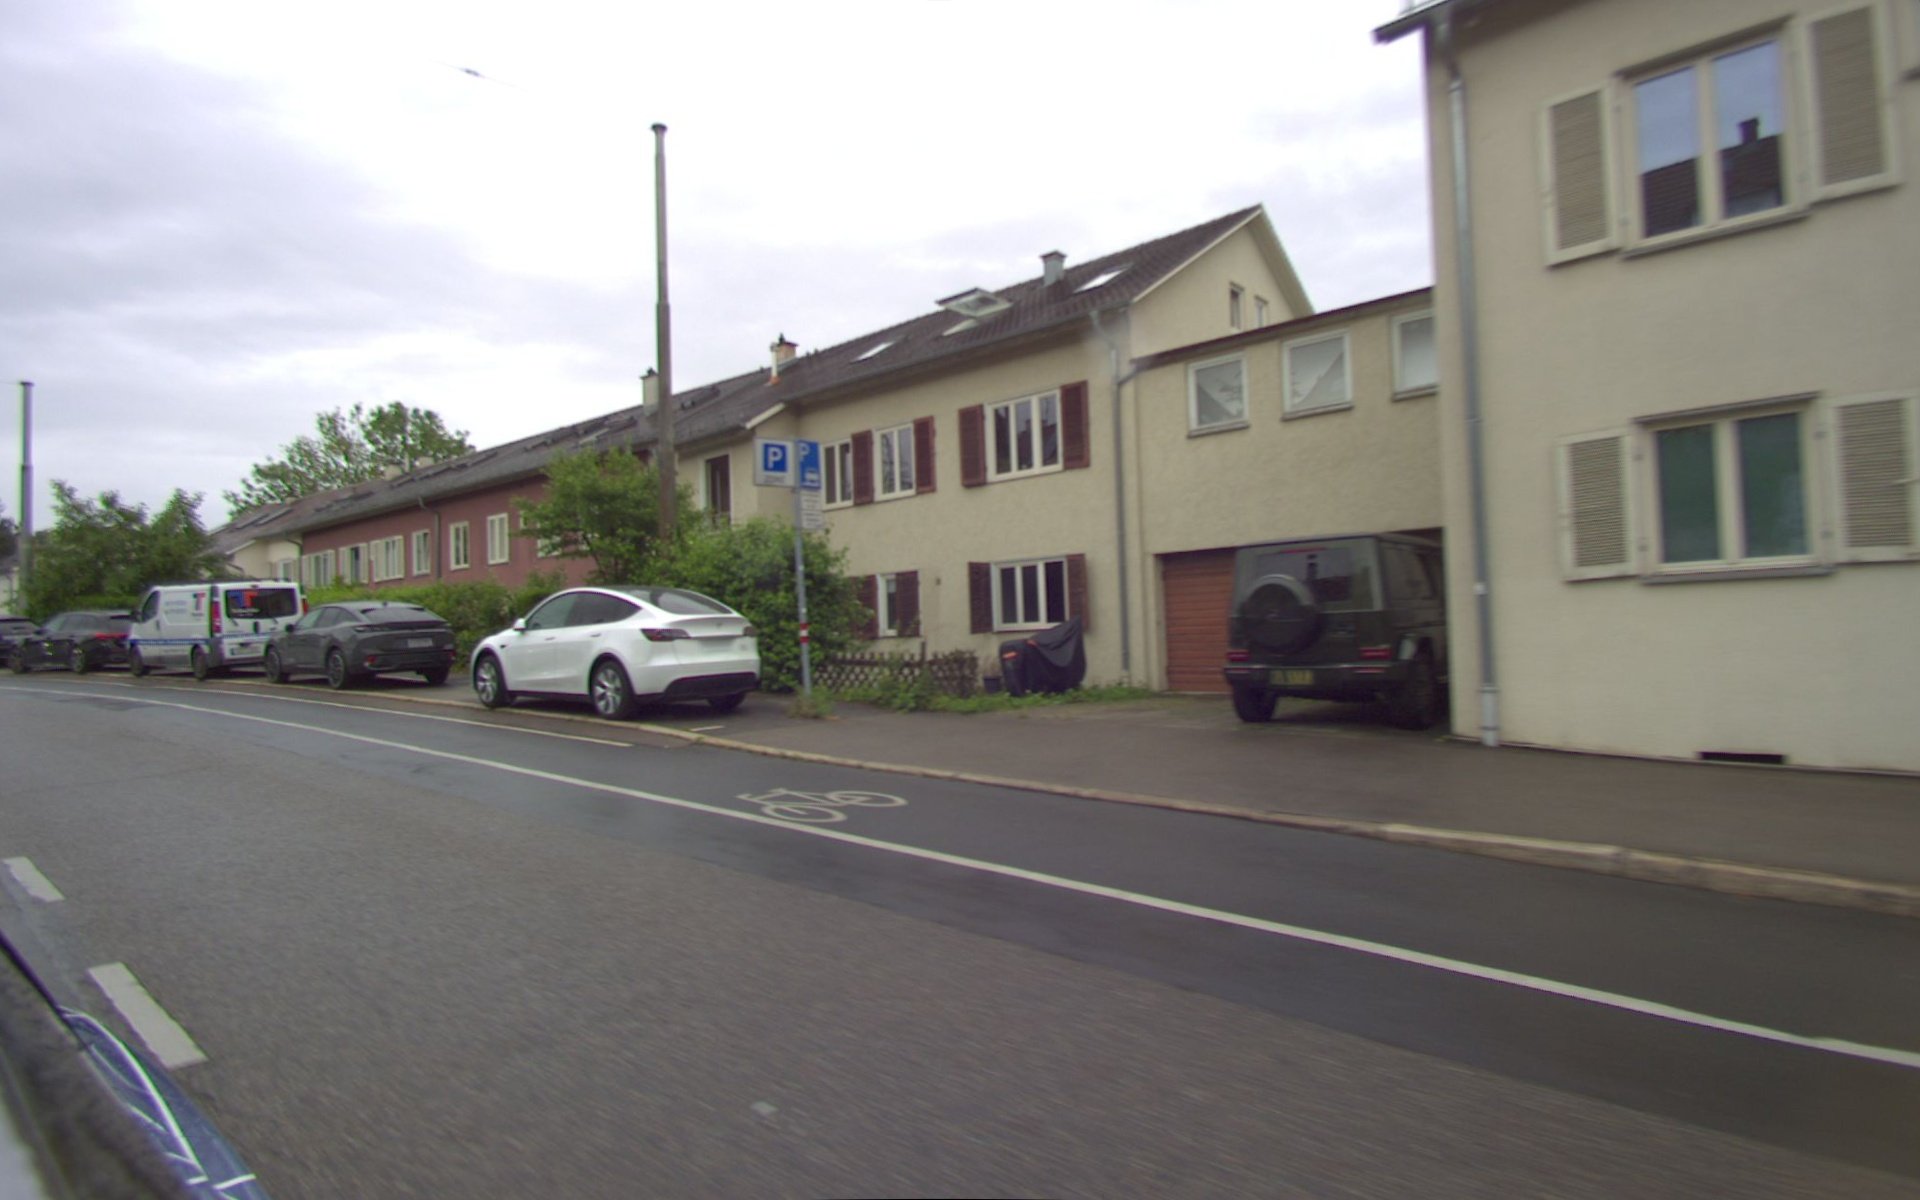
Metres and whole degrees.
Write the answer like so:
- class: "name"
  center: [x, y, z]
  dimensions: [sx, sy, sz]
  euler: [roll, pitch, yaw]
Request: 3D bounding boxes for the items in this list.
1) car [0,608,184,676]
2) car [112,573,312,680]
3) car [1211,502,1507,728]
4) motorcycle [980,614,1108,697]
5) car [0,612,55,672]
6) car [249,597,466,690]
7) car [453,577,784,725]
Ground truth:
- class: "car"
  center: [-20.893, 0.979, 24.319]
  dimensions: [4.499, 1.488, 1.797]
  euler: [-1, 0, 27]
- class: "car"
  center: [-16.198, 0.551, 21.843]
  dimensions: [5.005, 2.094, 1.833]
  euler: [-1, 0, 33]
- class: "car"
  center: [4.678, 0.183, 11.443]
  dimensions: [1.885, 2.029, 4.445]
  euler: [-3, -2, 38]
- class: "motorcycle"
  center: [1.321, 0.812, 15.545]
  dimensions: [0.840, 1.143, 2.069]
  euler: [1, 1, 44]
- class: "car"
  center: [-26.262, 1.111, 27.042]
  dimensions: [4.504, 1.488, 1.796]
  euler: [-1, 0, 30]
- class: "car"
  center: [-10.990, 0.727, 18.350]
  dimensions: [4.514, 1.488, 1.792]
  euler: [-1, 0, 37]
- class: "car"
  center: [-4.645, 0.581, 13.440]
  dimensions: [4.670, 1.643, 1.911]
  euler: [-1, 0, 38]
